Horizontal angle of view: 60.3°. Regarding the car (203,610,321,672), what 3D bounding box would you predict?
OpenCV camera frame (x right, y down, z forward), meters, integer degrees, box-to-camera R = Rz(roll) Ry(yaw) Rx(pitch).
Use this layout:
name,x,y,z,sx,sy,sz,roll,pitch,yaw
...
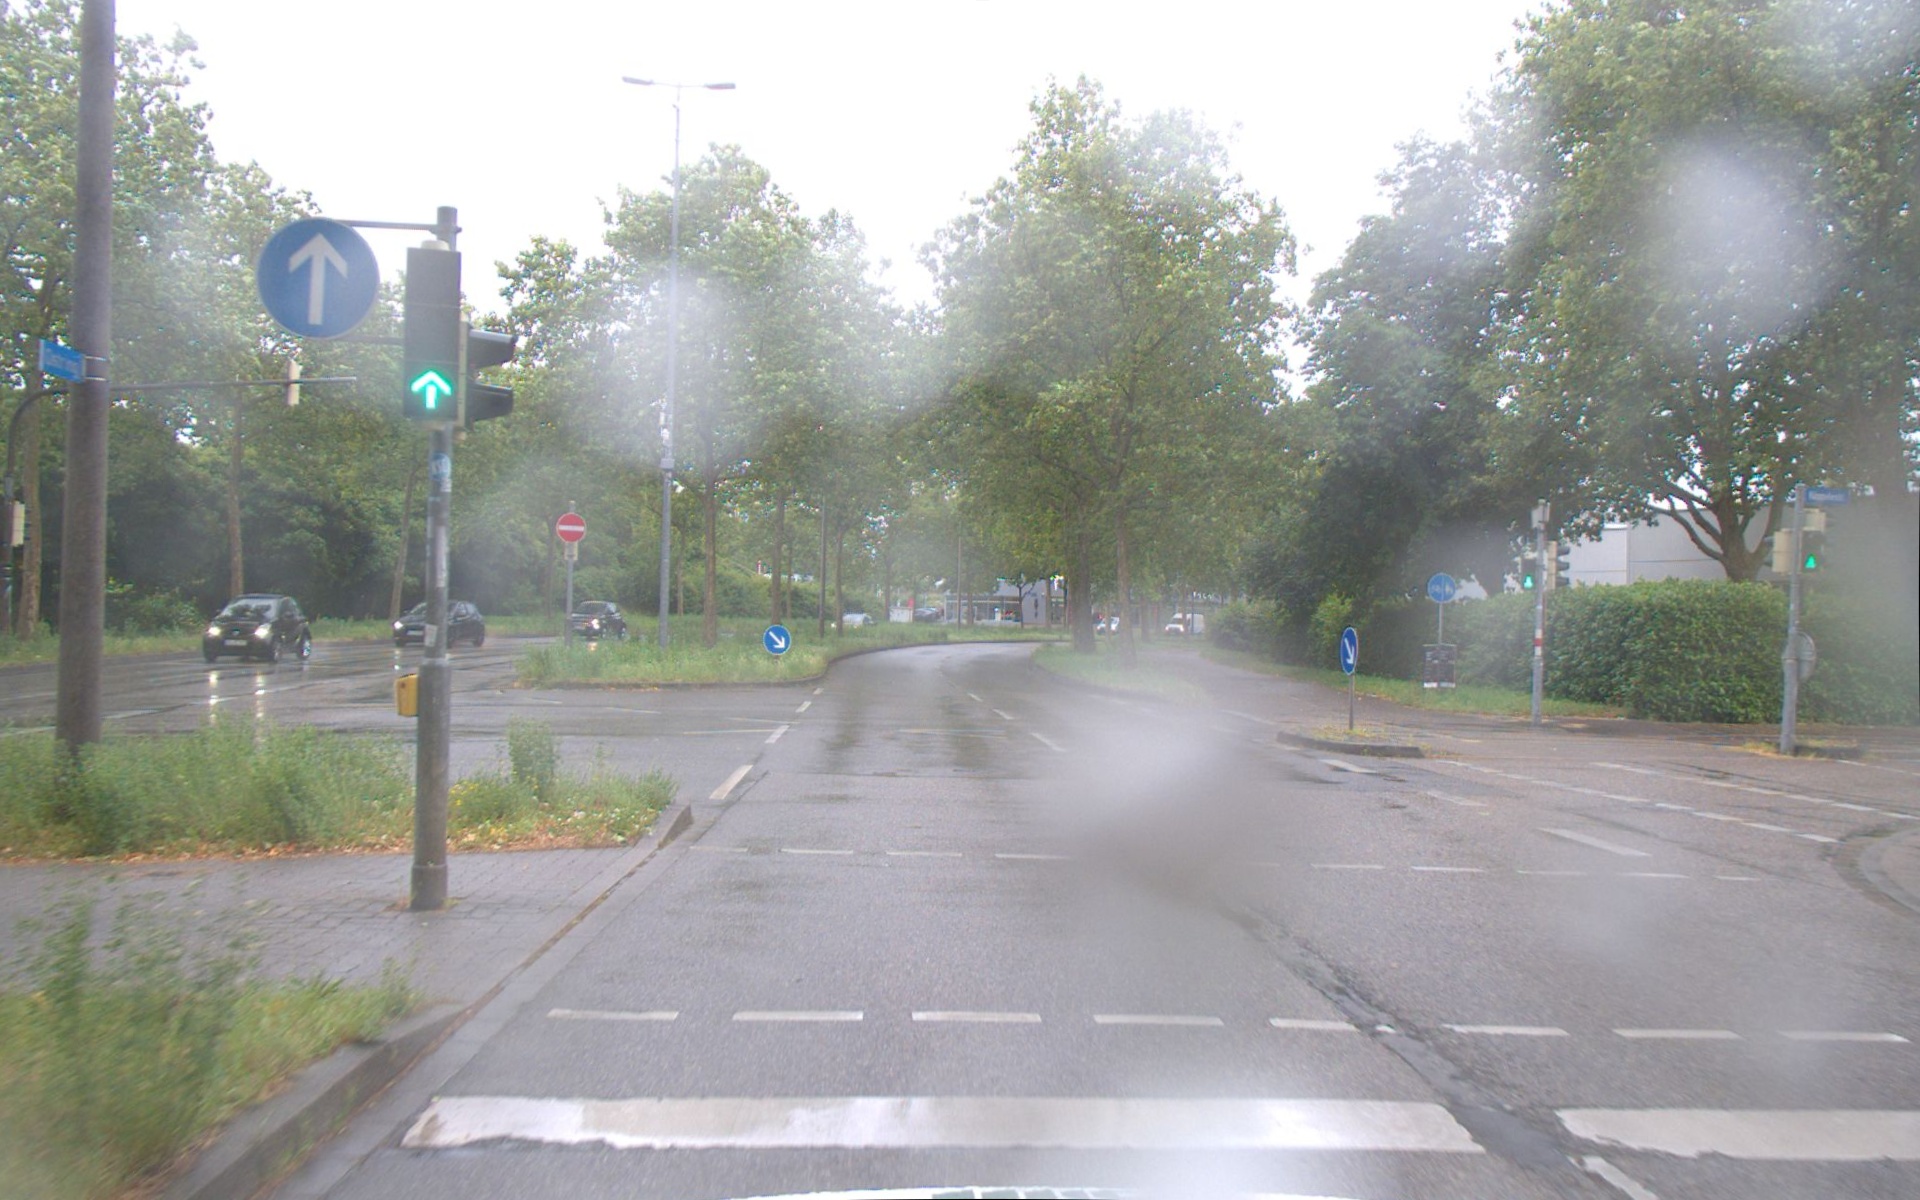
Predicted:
name,x,y,z,sx,sy,sz,roll,pitch,yaw
car,-16.658,0.956,39.636,1.556,1.397,3.331,1,-1,-3

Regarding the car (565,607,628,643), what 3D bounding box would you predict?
name,x,y,z,sx,sy,sz,roll,pitch,yaw
car,-14.827,1.000,67.655,1.554,1.397,4.262,1,-1,1

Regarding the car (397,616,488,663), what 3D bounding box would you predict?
name,x,y,z,sx,sy,sz,roll,pitch,yaw
car,-16.311,1.220,52.339,1.555,1.397,4.261,1,-1,-1

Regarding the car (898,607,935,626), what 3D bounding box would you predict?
name,x,y,z,sx,sy,sz,roll,pitch,yaw
car,-4.964,1.909,187.599,3.914,2.049,1.995,1,-2,-10

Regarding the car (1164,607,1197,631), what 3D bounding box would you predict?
name,x,y,z,sx,sy,sz,roll,pitch,yaw
car,22.686,1.959,169.777,2.235,2.311,5.969,1,0,19
